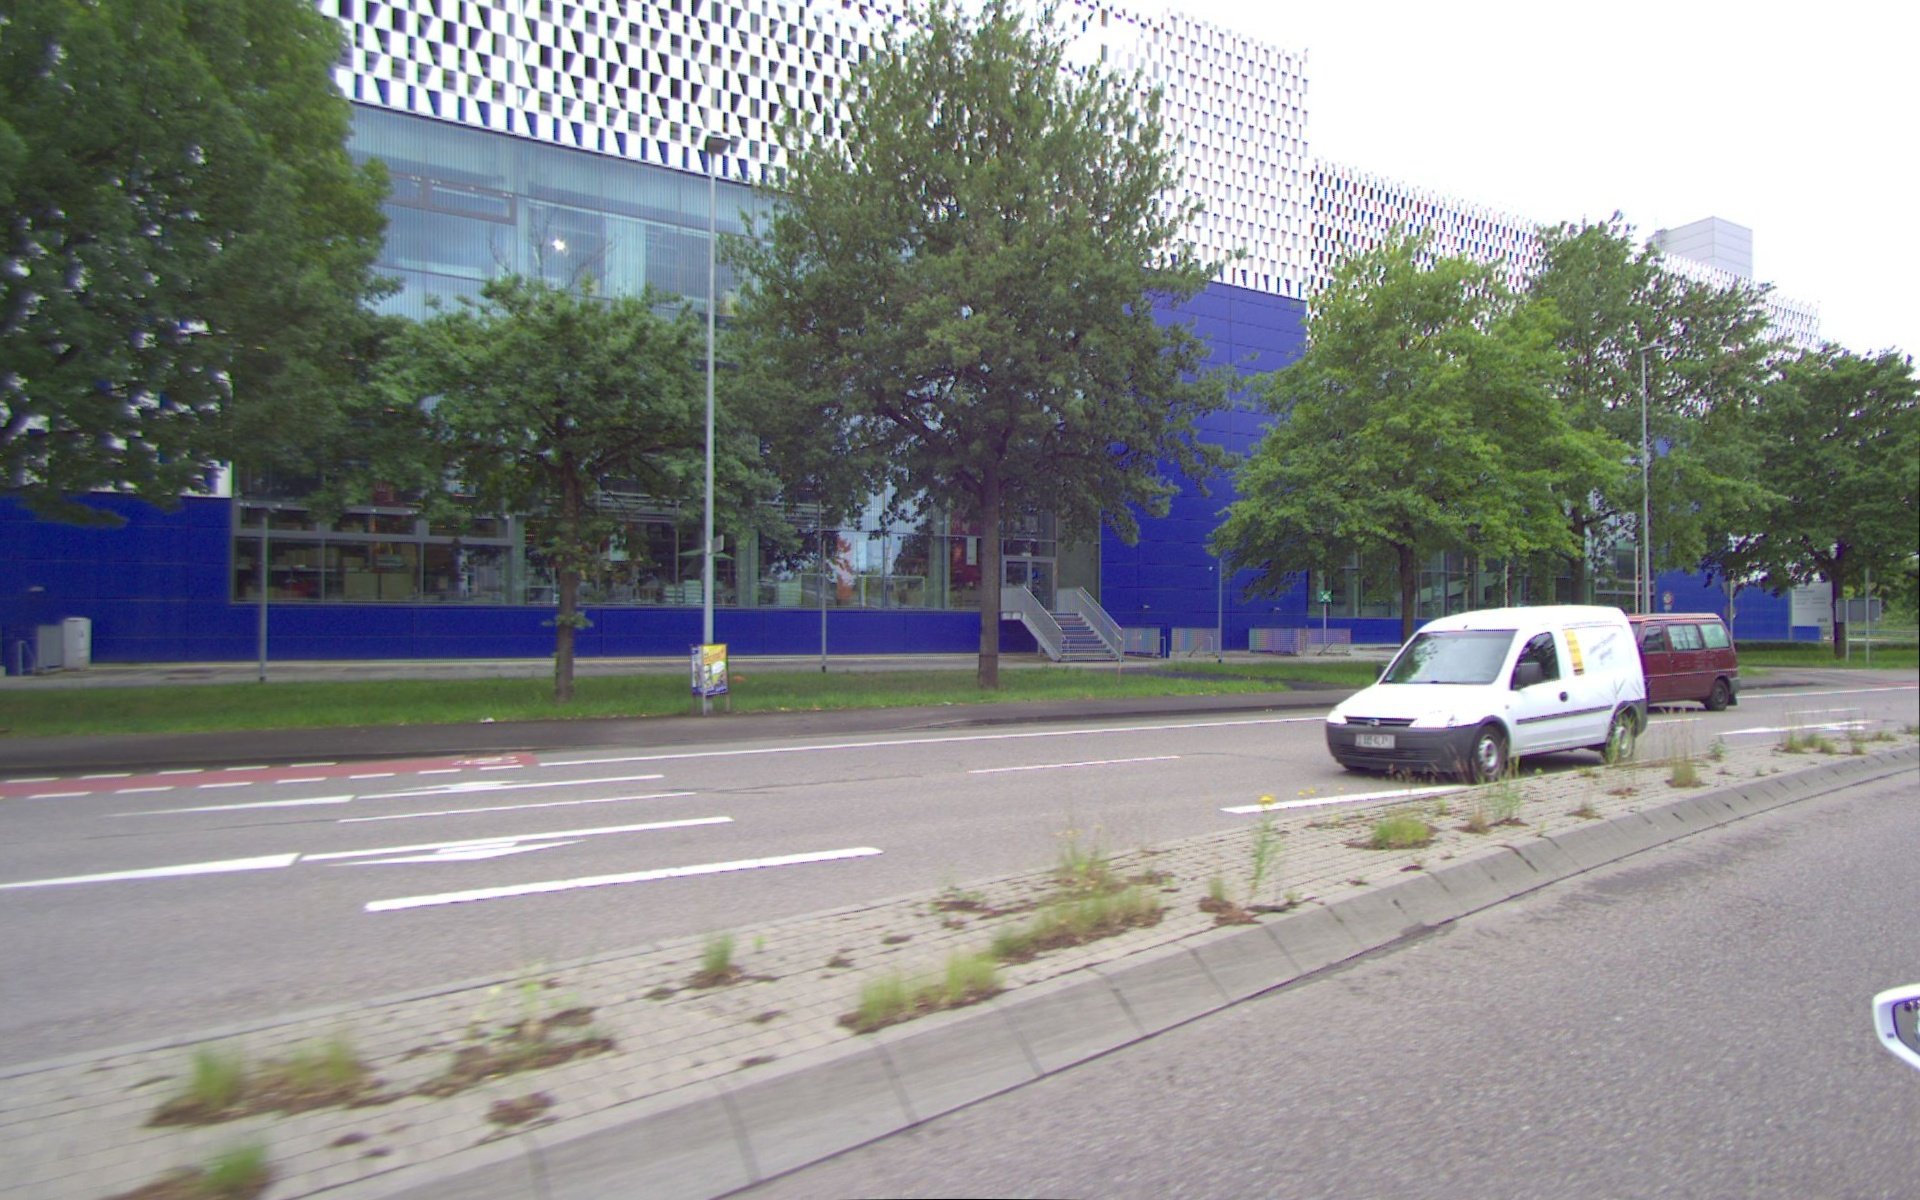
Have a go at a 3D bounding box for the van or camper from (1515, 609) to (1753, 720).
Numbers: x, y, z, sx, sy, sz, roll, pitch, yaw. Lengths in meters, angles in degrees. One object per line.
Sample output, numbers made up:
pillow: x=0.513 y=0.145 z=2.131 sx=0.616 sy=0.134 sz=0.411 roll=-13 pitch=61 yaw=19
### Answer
van or camper: x=13.591 y=1.211 z=20.216 sx=4.827 sy=2.012 sz=1.868 roll=0 pitch=-2 yaw=-27

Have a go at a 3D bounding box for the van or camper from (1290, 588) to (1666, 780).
van or camper: x=5.876 y=0.867 z=11.248 sx=4.359 sy=1.769 sz=1.746 roll=1 pitch=-4 yaw=-33
